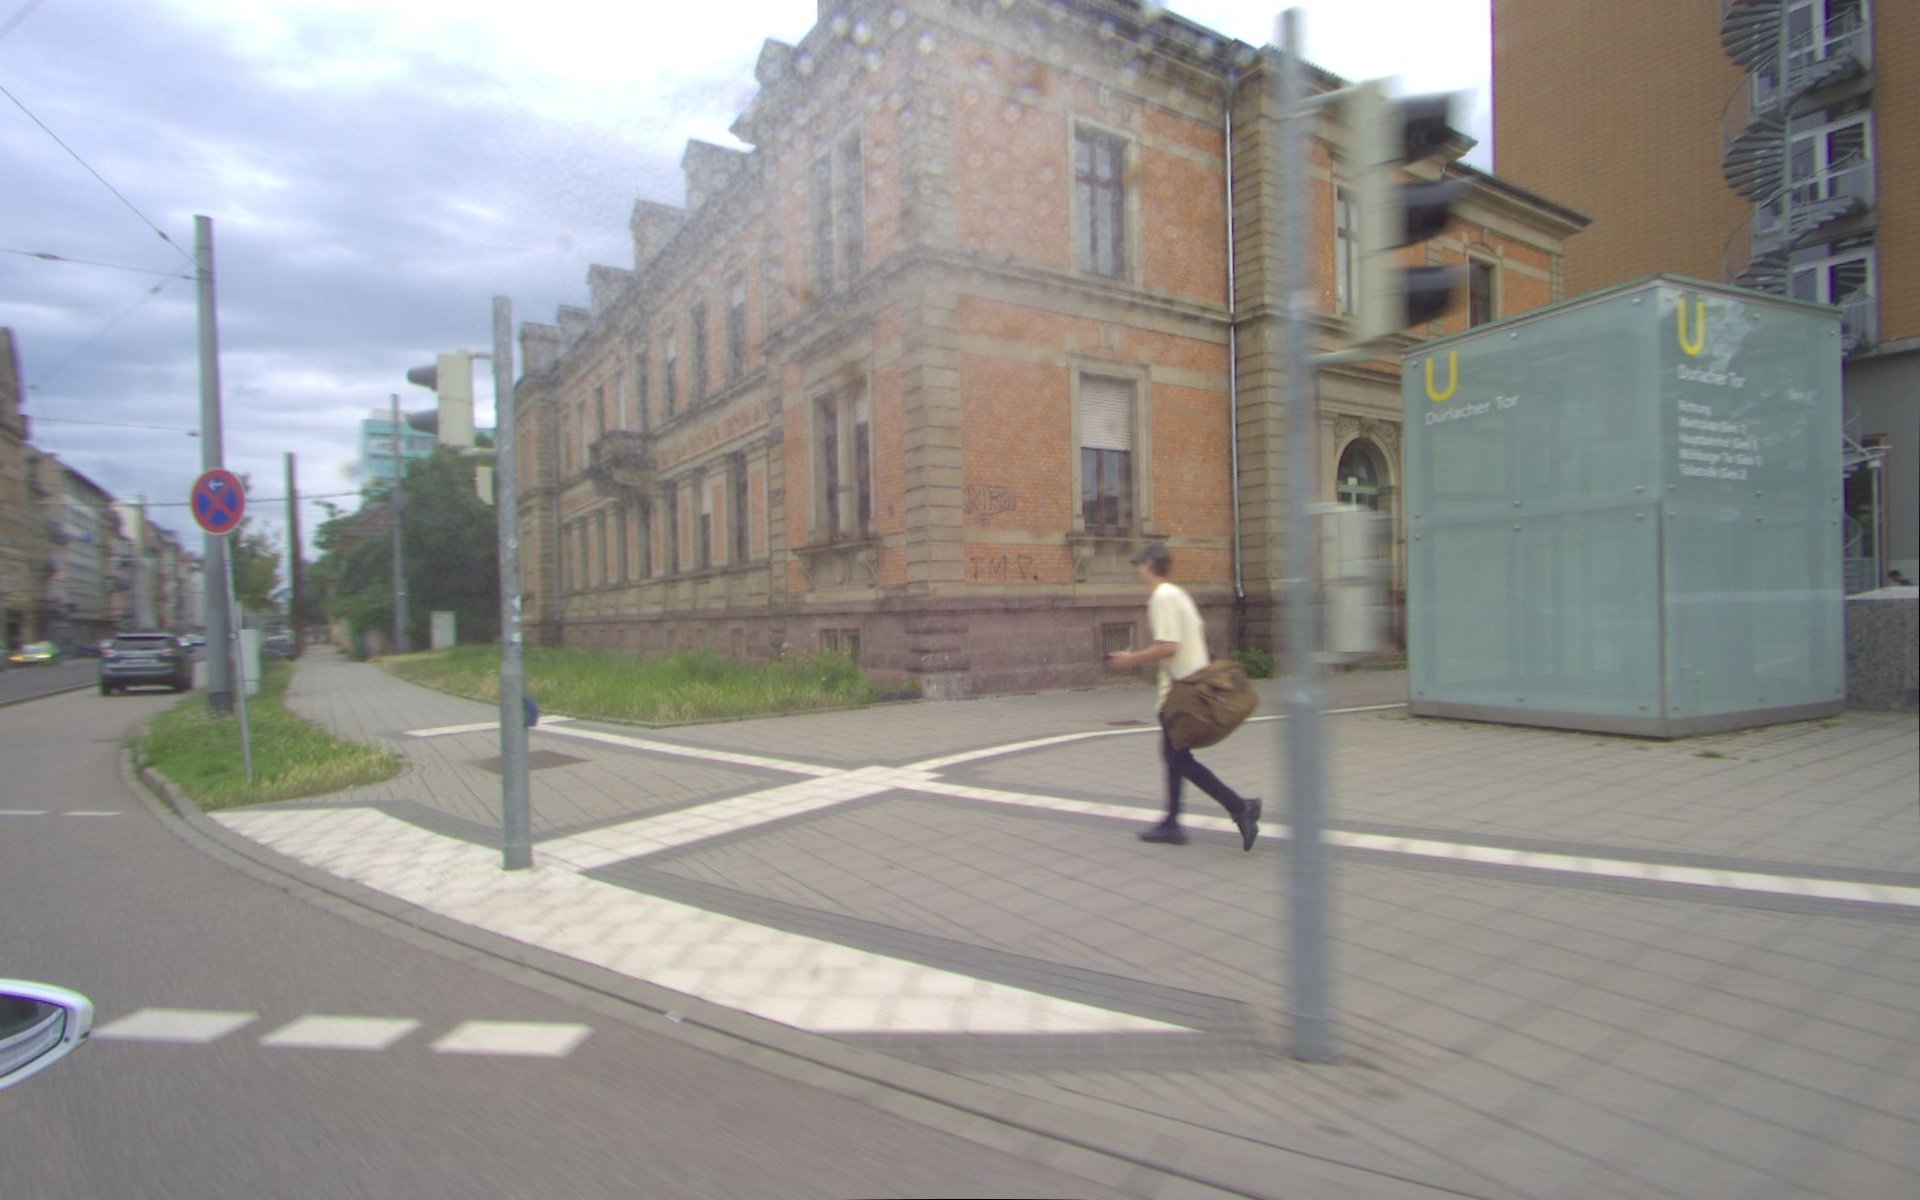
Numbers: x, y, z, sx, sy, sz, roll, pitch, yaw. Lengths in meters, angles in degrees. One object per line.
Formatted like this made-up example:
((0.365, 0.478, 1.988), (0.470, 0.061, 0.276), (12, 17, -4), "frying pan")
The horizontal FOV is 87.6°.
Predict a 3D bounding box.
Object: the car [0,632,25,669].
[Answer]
((-46.886, 2.467, 48.126), (1.843, 1.728, 4.882), (-2, 0, -32), "car")

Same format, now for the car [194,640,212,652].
((-111.616, 6.740, 147.665), (1.741, 1.693, 4.587), (-1, -1, -33), "car")

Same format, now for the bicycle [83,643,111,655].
((-79.724, 4.501, 92.539), (1.951, 1.014, 0.459), (0, -1, -41), "bicycle")

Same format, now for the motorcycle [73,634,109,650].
((-78.276, 3.791, 90.198), (0.868, 1.319, 2.339), (-1, -1, 20), "motorcycle")

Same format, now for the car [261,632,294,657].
((-48.025, 3.123, 70.490), (1.737, 1.595, 3.907), (-4, 1, -34), "car")

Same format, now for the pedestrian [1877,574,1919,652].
((21.718, 0.294, 22.905), (0.713, 1.759, 0.870), (-1, 0, -27), "pedestrian")

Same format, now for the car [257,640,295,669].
((-38.420, 3.034, 56.334), (1.620, 1.453, 3.907), (-4, 1, -34), "car")

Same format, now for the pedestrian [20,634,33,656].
((-71.796, 3.446, 77.016), (0.562, 1.619, 0.714), (-1, 0, -34), "pedestrian")

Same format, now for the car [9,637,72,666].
((-56.059, 3.121, 61.135), (1.877, 1.531, 4.405), (-2, 0, -30), "car")

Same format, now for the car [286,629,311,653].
((-64.148, 3.966, 97.171), (1.832, 2.143, 4.954), (-4, 1, -33), "car")

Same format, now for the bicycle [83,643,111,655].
((-79.296, 4.494, 91.989), (1.907, 1.014, 0.459), (0, -1, -41), "bicycle")

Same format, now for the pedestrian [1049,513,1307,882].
((1.281, 0.518, 5.807), (1.266, 1.892, 0.884), (-1, 0, 26), "pedestrian")

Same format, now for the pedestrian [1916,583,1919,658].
((21.458, 0.438, 21.704), (0.713, 1.652, 0.870), (-1, 0, -27), "pedestrian")

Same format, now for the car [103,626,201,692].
((-23.231, 1.656, 28.921), (1.732, 1.778, 3.901), (1, -2, -33), "car")

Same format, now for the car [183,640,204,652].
((-100.153, 5.965, 130.859), (1.741, 1.468, 4.587), (-1, -1, -33), "car")
